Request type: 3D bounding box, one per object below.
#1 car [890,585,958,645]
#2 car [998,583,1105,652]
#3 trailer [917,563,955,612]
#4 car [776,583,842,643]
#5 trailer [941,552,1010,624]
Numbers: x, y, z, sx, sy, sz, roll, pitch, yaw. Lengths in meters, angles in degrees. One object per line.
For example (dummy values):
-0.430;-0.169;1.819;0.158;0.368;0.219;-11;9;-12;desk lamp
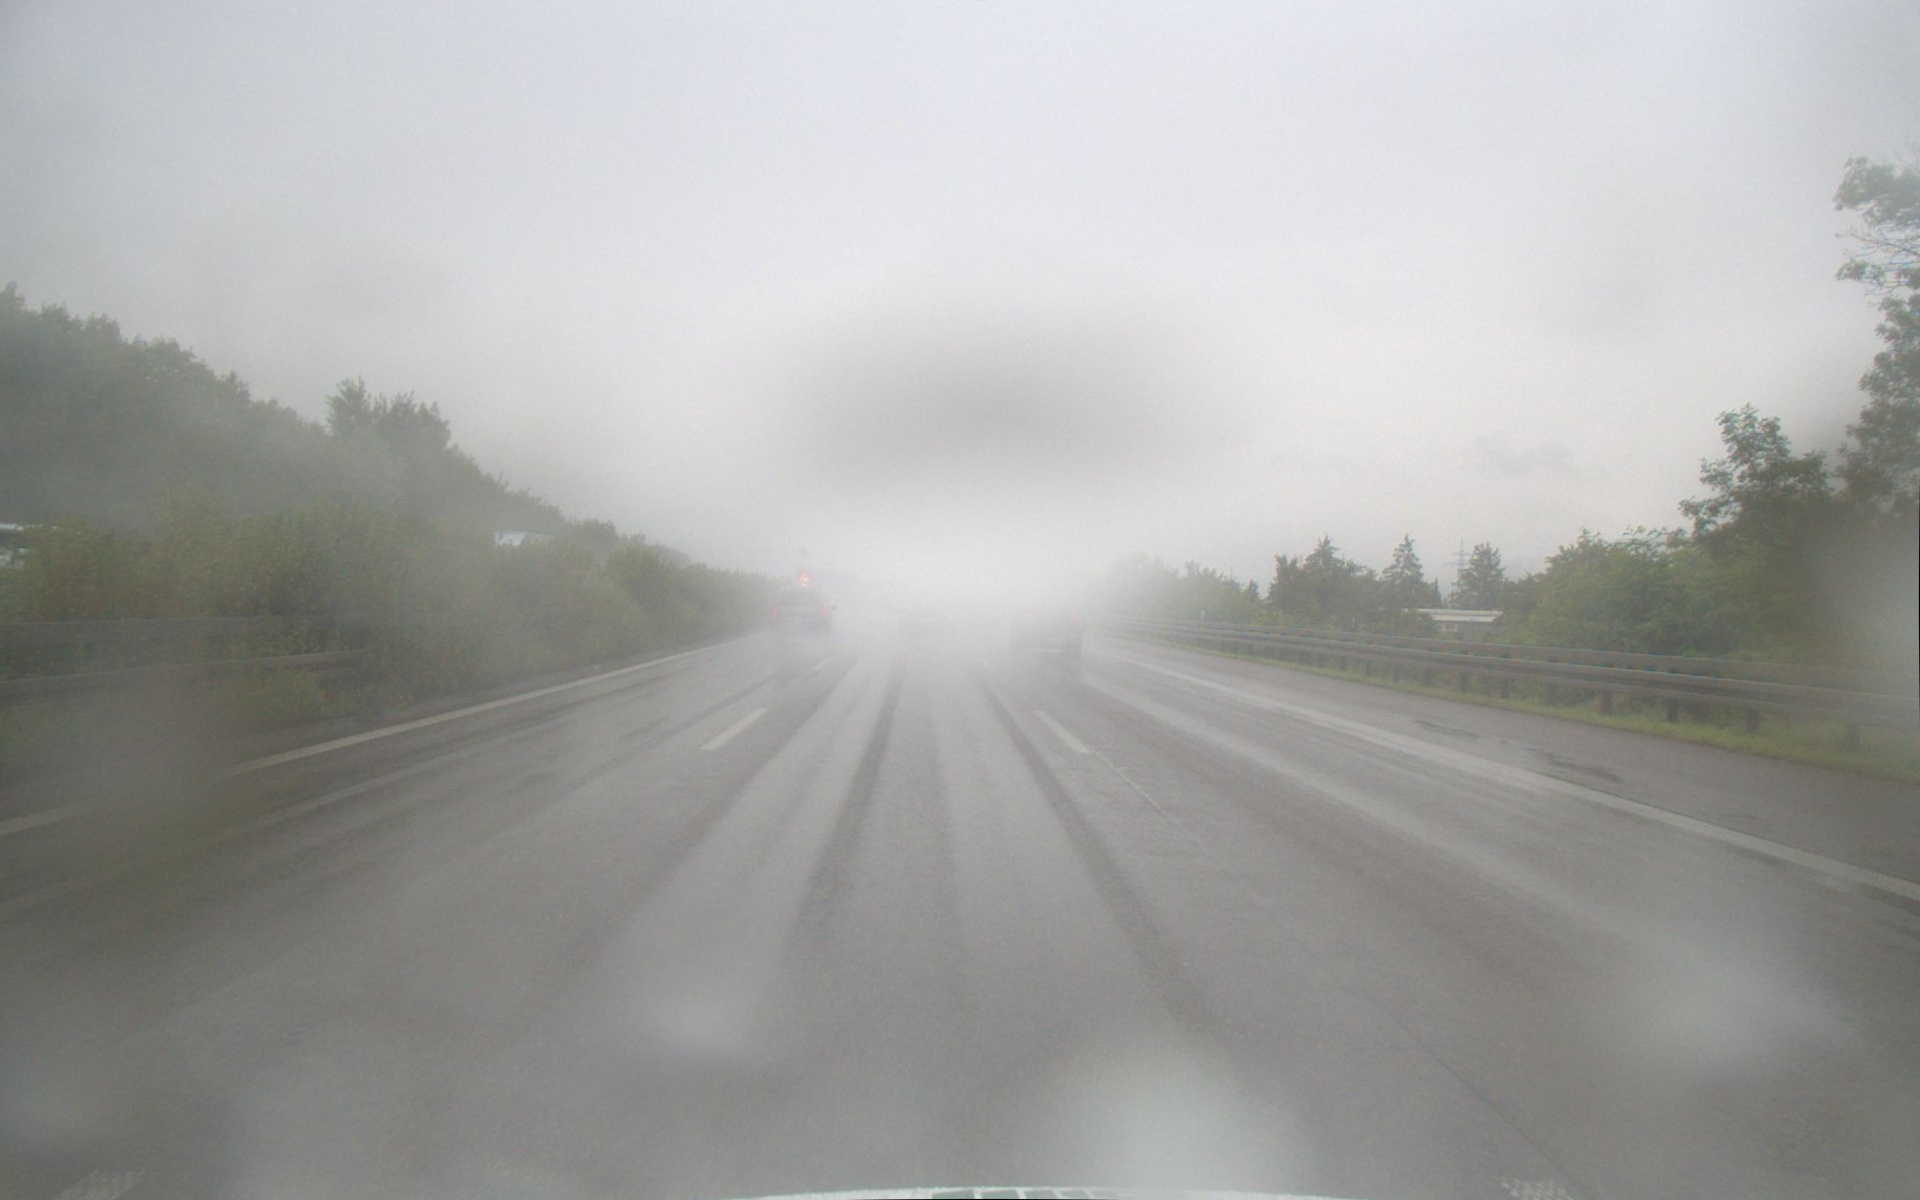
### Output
-1.180;0.433;52.090;1.939;1.787;4.478;1;0;-3;car
2.474;0.453;46.424;2.408;1.776;5.716;0;0;-3;car
-2.061;-0.966;137.570;2.944;3.915;8.619;-1;-1;-2;trailer
-4.687;0.390;51.750;1.887;1.771;4.401;0;0;-3;car
0.756;-0.661;92.750;3.125;3.734;11.659;0;0;-3;trailer
